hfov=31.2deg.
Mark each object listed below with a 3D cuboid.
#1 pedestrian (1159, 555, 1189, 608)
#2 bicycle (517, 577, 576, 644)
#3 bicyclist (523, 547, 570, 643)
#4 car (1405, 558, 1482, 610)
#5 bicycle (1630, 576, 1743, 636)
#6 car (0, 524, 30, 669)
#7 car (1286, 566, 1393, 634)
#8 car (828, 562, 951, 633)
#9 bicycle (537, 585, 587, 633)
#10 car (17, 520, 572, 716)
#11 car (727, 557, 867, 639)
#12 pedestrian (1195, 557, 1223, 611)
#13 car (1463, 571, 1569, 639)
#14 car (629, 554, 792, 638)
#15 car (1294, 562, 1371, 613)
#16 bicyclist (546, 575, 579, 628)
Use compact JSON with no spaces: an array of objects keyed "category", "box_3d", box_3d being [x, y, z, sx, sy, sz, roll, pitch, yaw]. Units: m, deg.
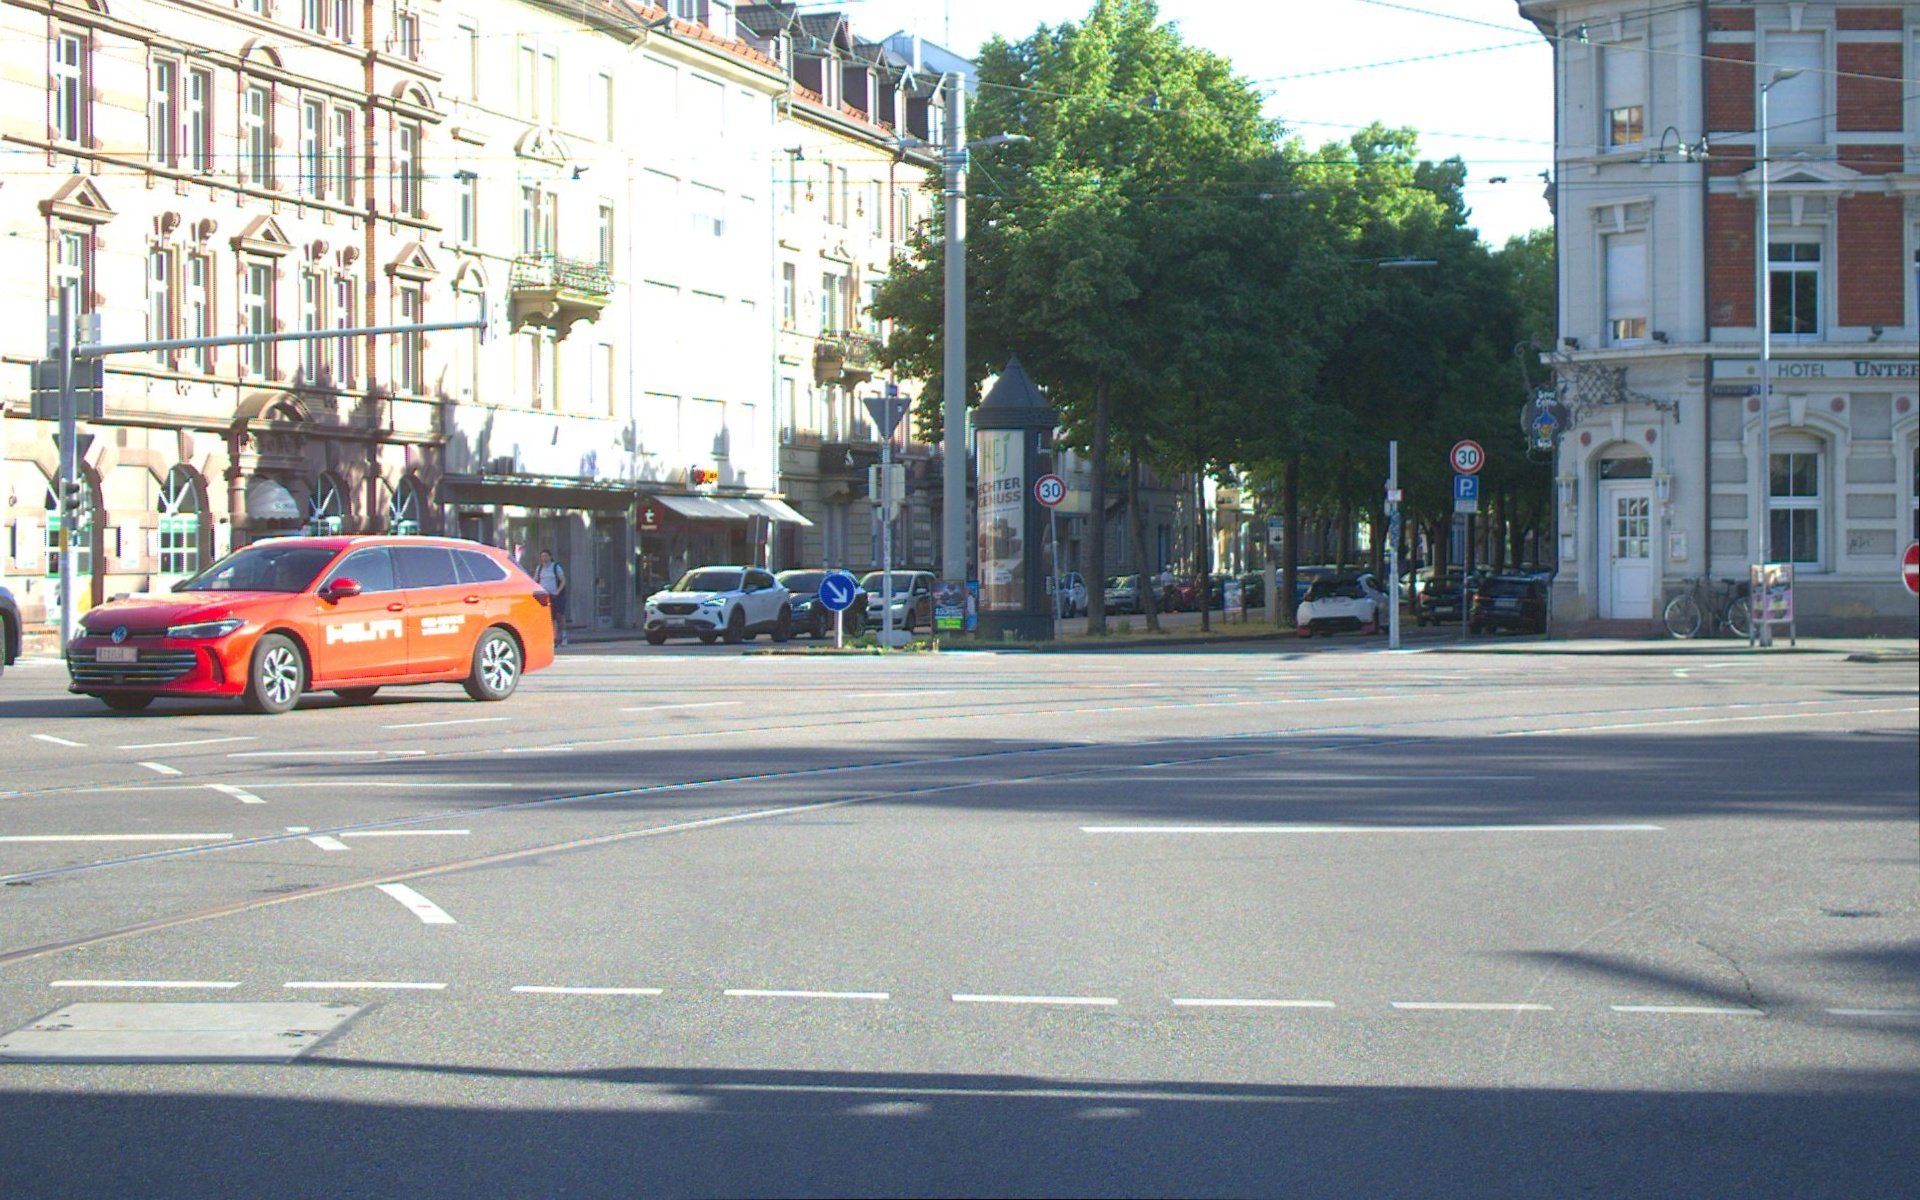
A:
[{"category":"pedestrian","box_3d":[7.285,-0.632,117.108,0.709,1.784,0.697,1,0,-36]},{"category":"bicycle","box_3d":[-7.845,0.187,65.306,0.565,1.250,1.556,1,1,14]},{"category":"bicyclist","box_3d":[-7.848,-0.095,65.311,0.565,1.797,0.913,1,0,15]},{"category":"car","box_3d":[13.461,-0.458,95.600,1.826,1.398,3.998,0,1,12]},{"category":"bicycle","box_3d":[12.068,0.100,57.122,1.804,0.959,0.603,1,0,14]},{"category":"car","box_3d":[-11.846,0.000,36.666,1.869,1.596,4.452,-1,1,12]},{"category":"car","box_3d":[8.850,-0.013,79.985,1.893,1.449,4.006,0,2,15]},{"category":"car","box_3d":[-1.596,-0.063,79.508,1.804,1.570,3.888,1,1,15]},{"category":"bicycle","box_3d":[-7.812,0.165,67.557,0.473,0.919,1.451,1,1,14]},{"category":"car","box_3d":[-5.562,0.085,29.390,1.801,1.464,4.865,2,2,33]},{"category":"car","box_3d":[-3.444,-0.064,73.528,1.826,1.679,3.872,1,1,16]},{"category":"pedestrian","box_3d":[9.240,-0.594,127.649,0.752,2.007,0.998,1,0,22]},{"category":"car","box_3d":[13.334,0.102,82.328,1.758,1.550,3.996,1,1,20]},{"category":"car","box_3d":[-4.838,-0.094,67.281,1.804,1.579,4.156,1,1,17]},{"category":"car","box_3d":[12.658,-0.427,116.734,1.995,1.678,3.997,1,1,15]},{"category":"bicyclist","box_3d":[-7.811,0.022,67.566,0.473,1.036,0.537,1,0,15]}]
